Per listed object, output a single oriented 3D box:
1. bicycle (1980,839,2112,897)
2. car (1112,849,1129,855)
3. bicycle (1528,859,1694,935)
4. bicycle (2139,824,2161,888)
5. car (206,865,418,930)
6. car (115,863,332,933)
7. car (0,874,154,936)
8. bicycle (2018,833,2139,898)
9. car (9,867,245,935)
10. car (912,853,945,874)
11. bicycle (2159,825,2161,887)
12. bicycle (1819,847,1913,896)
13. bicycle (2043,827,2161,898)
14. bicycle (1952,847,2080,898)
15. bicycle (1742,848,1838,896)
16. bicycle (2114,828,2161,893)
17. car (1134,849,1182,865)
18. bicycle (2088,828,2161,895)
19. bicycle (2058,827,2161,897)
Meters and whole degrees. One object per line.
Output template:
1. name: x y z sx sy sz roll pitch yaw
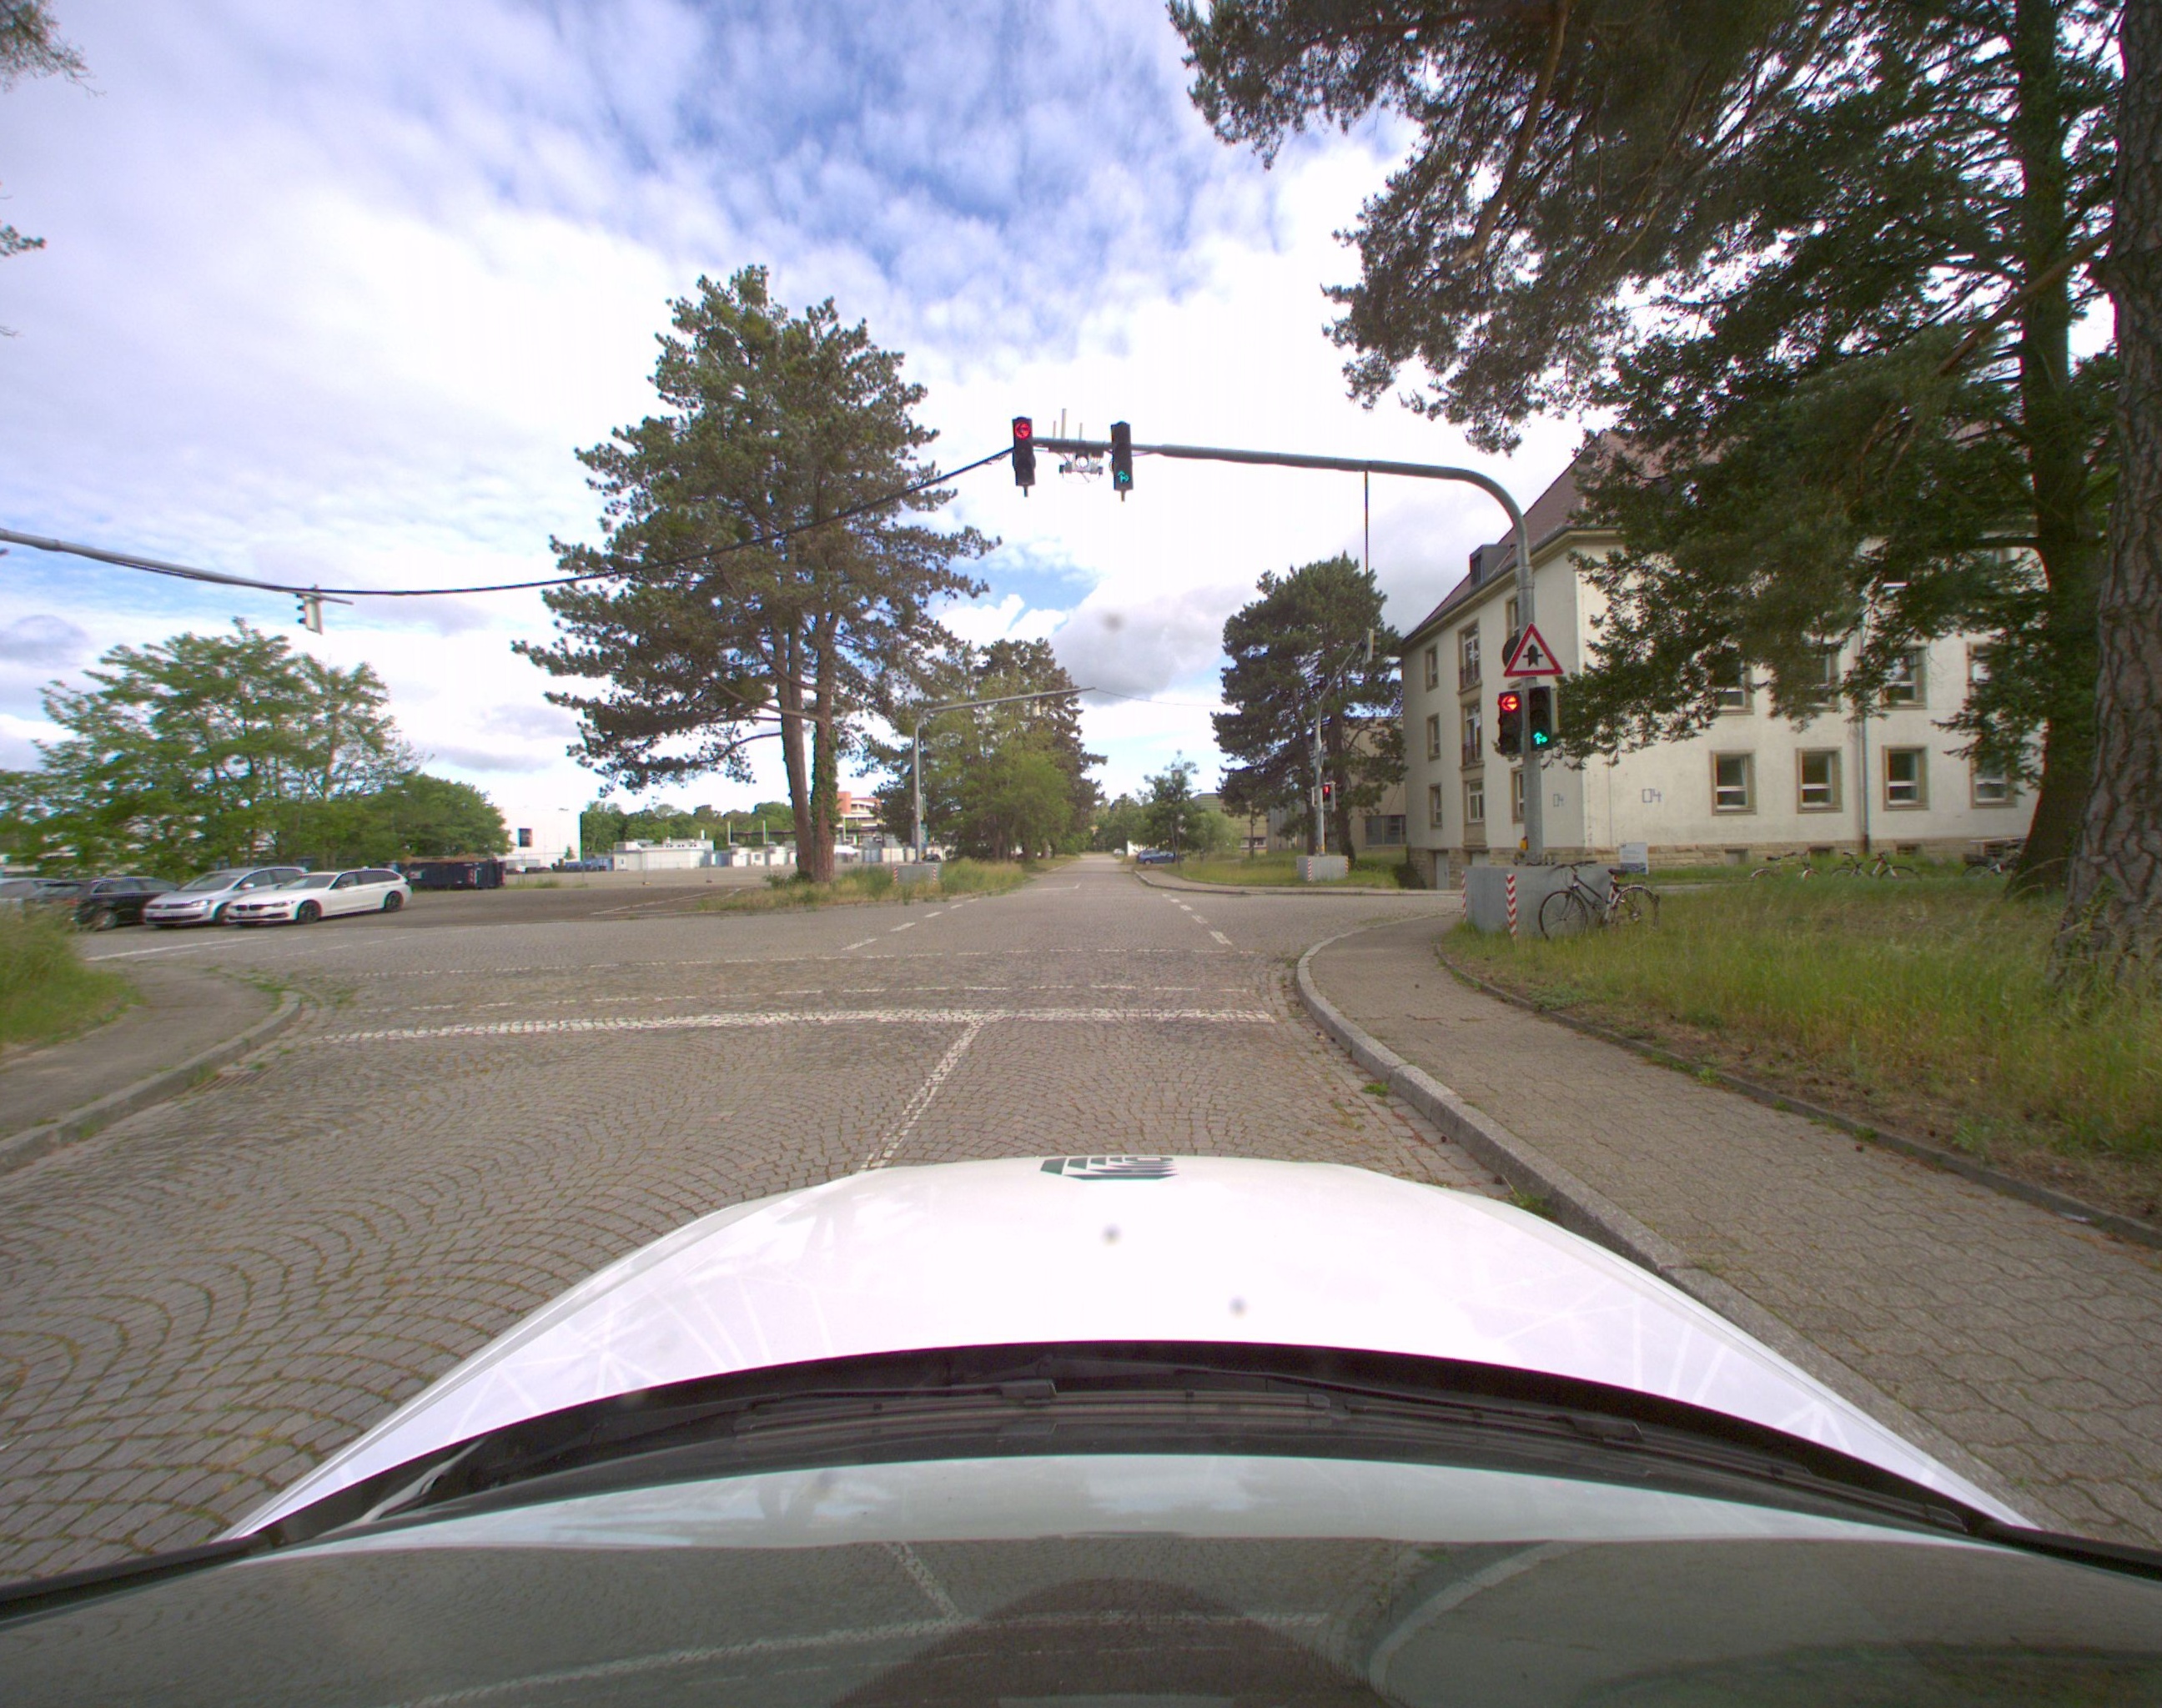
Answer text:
1. bicycle: 19.299 0.259 16.355 0.538 1.101 1.905 -1 0 7
2. car: 9.390 -0.446 193.253 3.980 1.398 1.997 -2 0 -5
3. bicycle: 6.605 0.530 10.195 1.693 0.874 0.573 -2 0 1
4. bicycle: 22.506 0.051 16.239 0.552 1.320 1.856 -1 0 7
5. car: -22.579 1.197 24.240 1.805 1.441 4.739 -2 2 -1
6. car: -25.070 1.205 24.086 1.817 1.584 4.324 -2 3 -2
7. car: -30.506 1.464 23.853 1.788 1.566 4.323 -2 0 -2
8. bicycle: 19.873 0.211 16.276 0.538 1.215 1.642 -1 0 7
9. car: -27.836 1.306 24.041 1.850 1.501 4.324 -2 3 -2
10. car: -11.494 0.718 61.518 1.607 1.487 4.001 -1 0 1
11. bicycle: 23.116 0.043 16.334 0.550 1.320 1.942 -1 0 7
12. bicycle: 17.146 0.373 17.806 1.531 1.014 0.543 -1 0 0
13. bicycle: 20.372 0.147 16.109 0.435 1.320 2.051 -1 0 7
14. bicycle: 18.648 0.335 16.312 0.538 0.949 1.905 -1 0 6
15. bicycle: 15.390 0.379 17.690 1.615 0.980 0.530 -1 0 0
16. bicycle: 21.980 0.132 16.276 0.389 1.320 1.922 -1 0 7
17. car: 7.183 0.279 76.159 4.331 1.422 1.999 -2 0 -1
18. bicycle: 21.531 0.138 16.310 0.503 1.320 1.923 -1 0 7
19. bicycle: 20.943 0.142 16.296 0.573 1.320 1.979 -1 0 7
